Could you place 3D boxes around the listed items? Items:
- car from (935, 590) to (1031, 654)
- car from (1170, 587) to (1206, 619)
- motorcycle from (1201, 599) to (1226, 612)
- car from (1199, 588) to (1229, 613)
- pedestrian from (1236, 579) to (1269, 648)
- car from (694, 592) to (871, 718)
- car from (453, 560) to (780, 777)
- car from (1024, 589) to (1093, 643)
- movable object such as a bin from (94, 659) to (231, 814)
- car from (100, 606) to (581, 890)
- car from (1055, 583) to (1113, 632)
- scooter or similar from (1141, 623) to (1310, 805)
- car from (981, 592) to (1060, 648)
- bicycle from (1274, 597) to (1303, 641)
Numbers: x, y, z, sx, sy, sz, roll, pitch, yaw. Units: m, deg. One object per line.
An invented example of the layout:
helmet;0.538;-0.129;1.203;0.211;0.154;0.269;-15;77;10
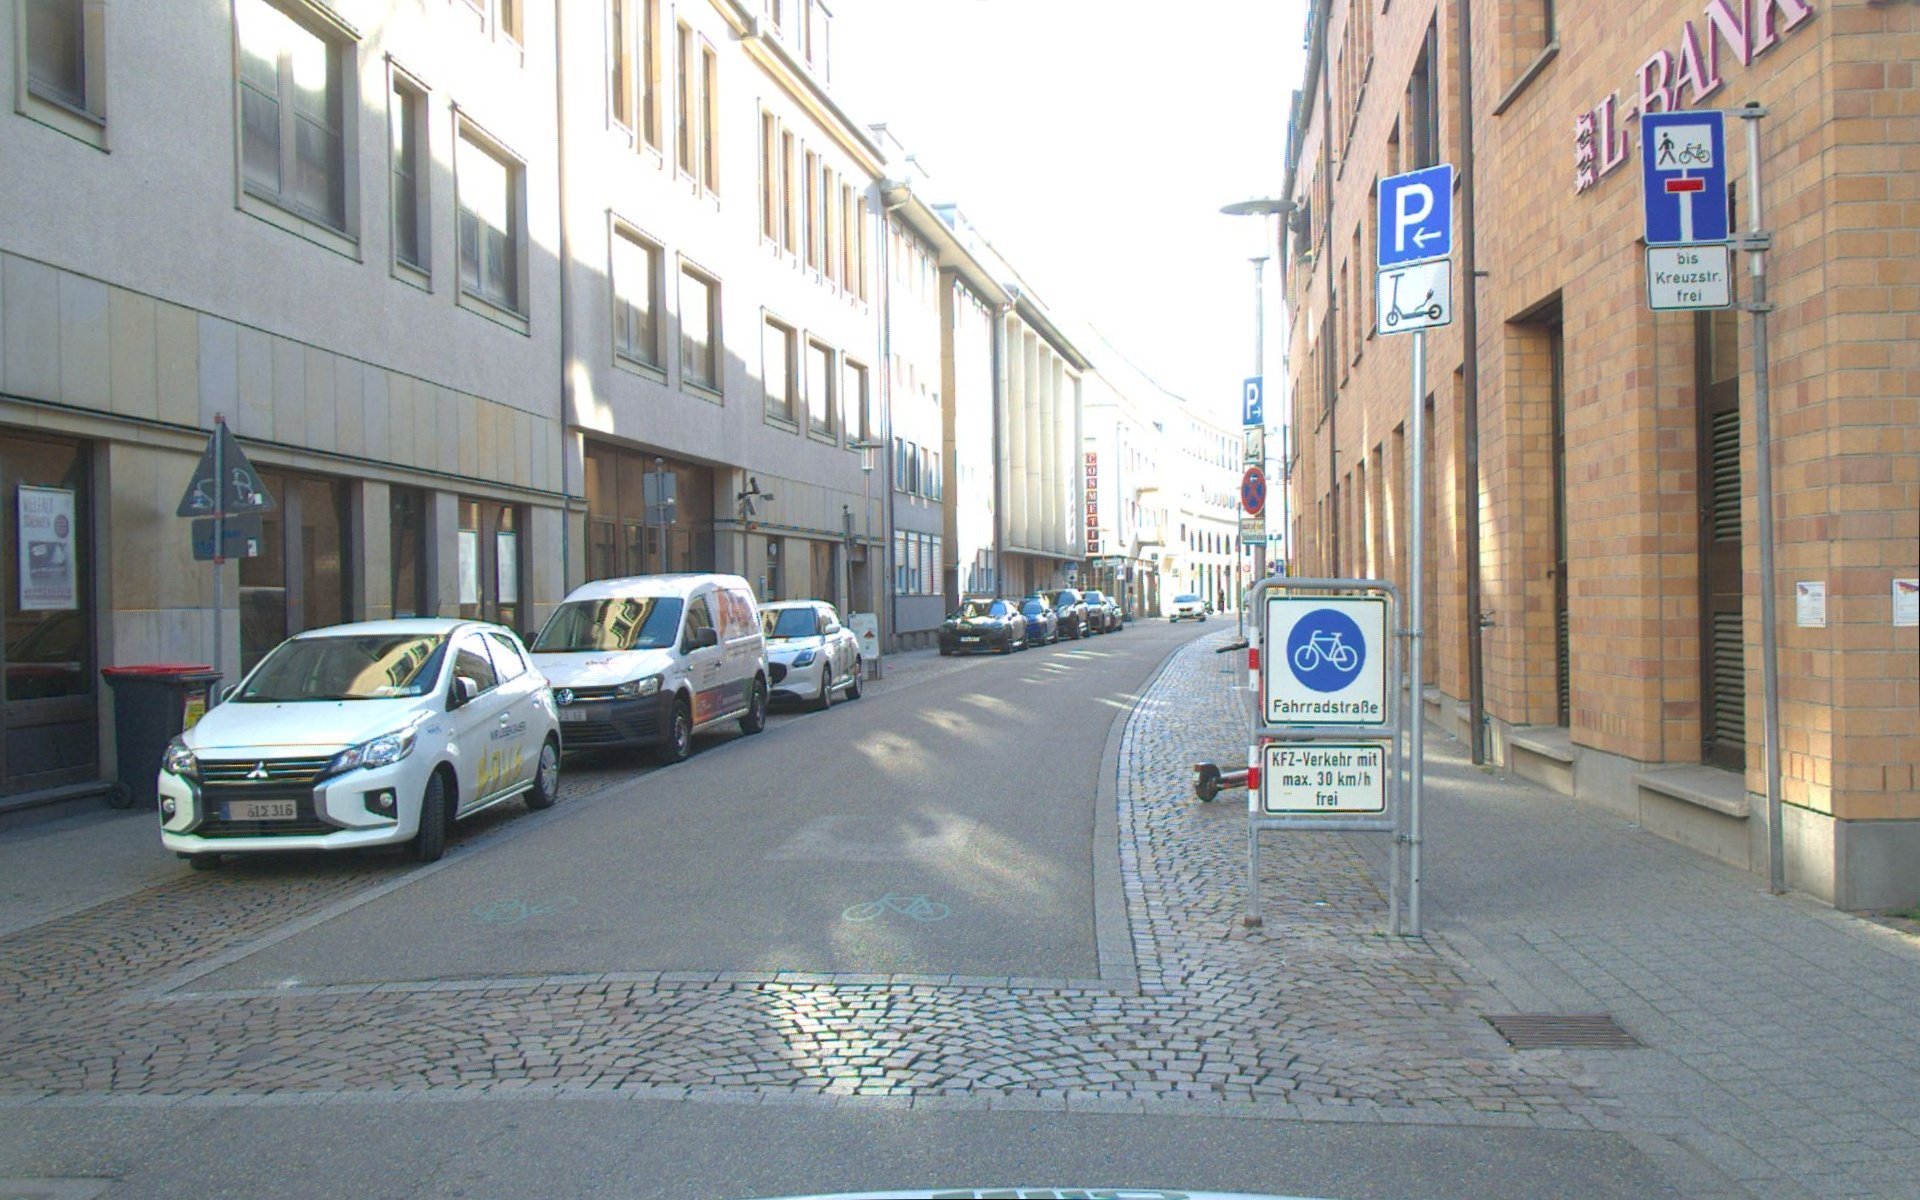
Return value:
car;0.675;0.551;44.195;1.849;1.556;4.733;-2;0;9
car;11.636;0.117;84.277;1.678;1.544;4.164;-2;0;9
motorcycle;17.692;0.382;115.418;1.655;0.874;0.595;1;-1;18
car;16.568;0.011;107.801;1.604;1.544;4.164;-2;0;13
pedestrian;7.664;0.345;43.382;0.744;1.746;0.822;-3;0;9
car;-2.446;0.719;23.632;1.634;1.548;3.778;-3;0;7
car;-3.381;0.605;17.357;1.859;1.890;4.737;-3;0;7
car;3.394;0.503;56.247;1.849;1.705;4.557;-2;0;9
movable object such as a bin;-6.041;1.020;12.556;0.721;1.120;0.591;1;-1;3
car;-3.989;0.854;11.383;1.701;1.518;3.801;-3;0;2
car;4.801;0.267;63.510;1.849;1.772;4.394;-2;0;9
scooter or similar;2.016;0.822;12.456;1.408;1.257;0.530;-1;1;-44
car;1.901;0.566;50.360;1.849;1.556;4.343;-2;0;9
bicycle;8.890;0.510;44.767;0.538;1.122;1.984;-4;0;7
